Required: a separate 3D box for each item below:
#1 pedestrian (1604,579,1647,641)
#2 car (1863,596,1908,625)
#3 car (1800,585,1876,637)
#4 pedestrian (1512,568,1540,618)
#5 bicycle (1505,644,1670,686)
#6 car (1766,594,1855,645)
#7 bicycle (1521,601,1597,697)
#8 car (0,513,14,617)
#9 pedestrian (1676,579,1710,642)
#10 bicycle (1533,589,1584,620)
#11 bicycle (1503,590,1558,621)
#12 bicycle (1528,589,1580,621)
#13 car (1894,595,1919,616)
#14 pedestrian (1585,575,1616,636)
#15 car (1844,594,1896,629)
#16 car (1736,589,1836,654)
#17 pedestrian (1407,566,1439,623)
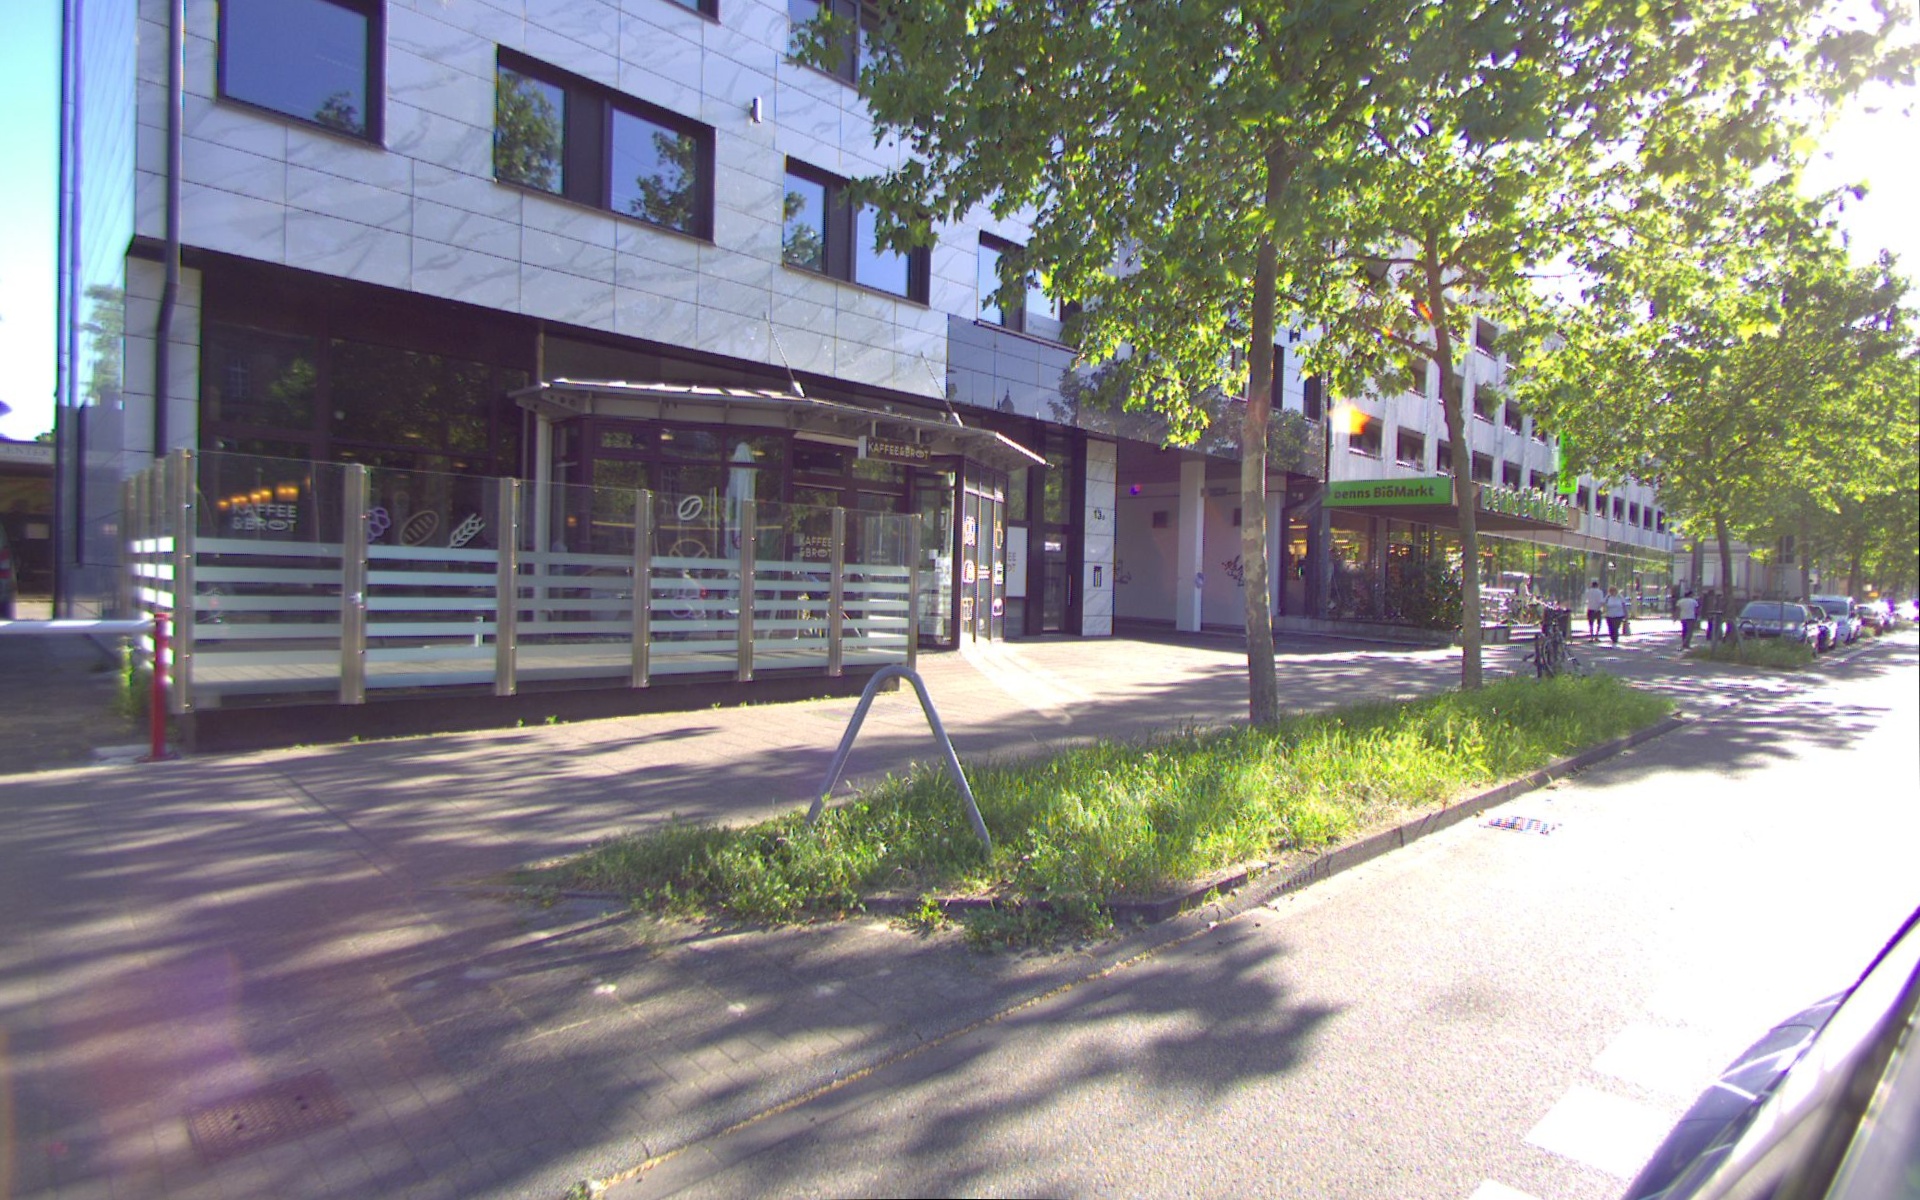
[{"bbox_3d":[17.966,0.260,27.319,0.853,1.632,0.699,0,3,-42],"label":"pedestrian"},{"bbox_3d":[51.617,0.564,56.430,3.866,1.459,1.627,0,3,-45],"label":"car"},{"bbox_3d":[33.399,0.385,38.475,4.320,1.814,1.766,0,2,-44],"label":"car"},{"bbox_3d":[20.532,-0.265,36.727,0.607,1.735,0.609,8,4,21],"label":"pedestrian"},{"bbox_3d":[8.421,0.852,13.592,1.366,0.357,1.610,0,2,-44],"label":"bicycle"},{"bbox_3d":[26.708,0.559,31.720,1.762,1.436,4.624,1,1,45],"label":"car"},{"bbox_3d":[8.057,0.615,13.586,0.785,1.147,1.824,2,2,33],"label":"bicycle"},{"bbox_3d":[-17.273,-0.646,17.310,1.568,1.692,3.614,0,2,-43],"label":"car"},{"bbox_3d":[20.617,0.277,28.463,1.035,1.725,0.560,0,2,-45],"label":"pedestrian"},{"bbox_3d":[23.232,0.151,39.305,0.573,1.068,1.710,2,3,-17],"label":"bicycle"},{"bbox_3d":[20.013,0.176,35.542,0.573,0.927,1.656,5,2,-17],"label":"bicycle"},{"bbox_3d":[22.641,0.172,38.587,0.573,1.068,1.710,3,2,-17],"label":"bicycle"},{"bbox_3d":[73.390,0.423,78.003,4.204,1.584,1.835,0,1,-45],"label":"car"},{"bbox_3d":[19.034,0.168,30.065,0.864,1.766,0.560,0,2,-45],"label":"pedestrian"},{"bbox_3d":[44.316,0.525,49.269,1.674,1.455,3.631,5,4,44],"label":"car"},{"bbox_3d":[21.852,0.504,26.725,3.934,1.569,1.566,0,1,-44],"label":"car"},{"bbox_3d":[14.302,-0.168,31.252,0.868,1.698,0.558,0,3,-45],"label":"pedestrian"}]
